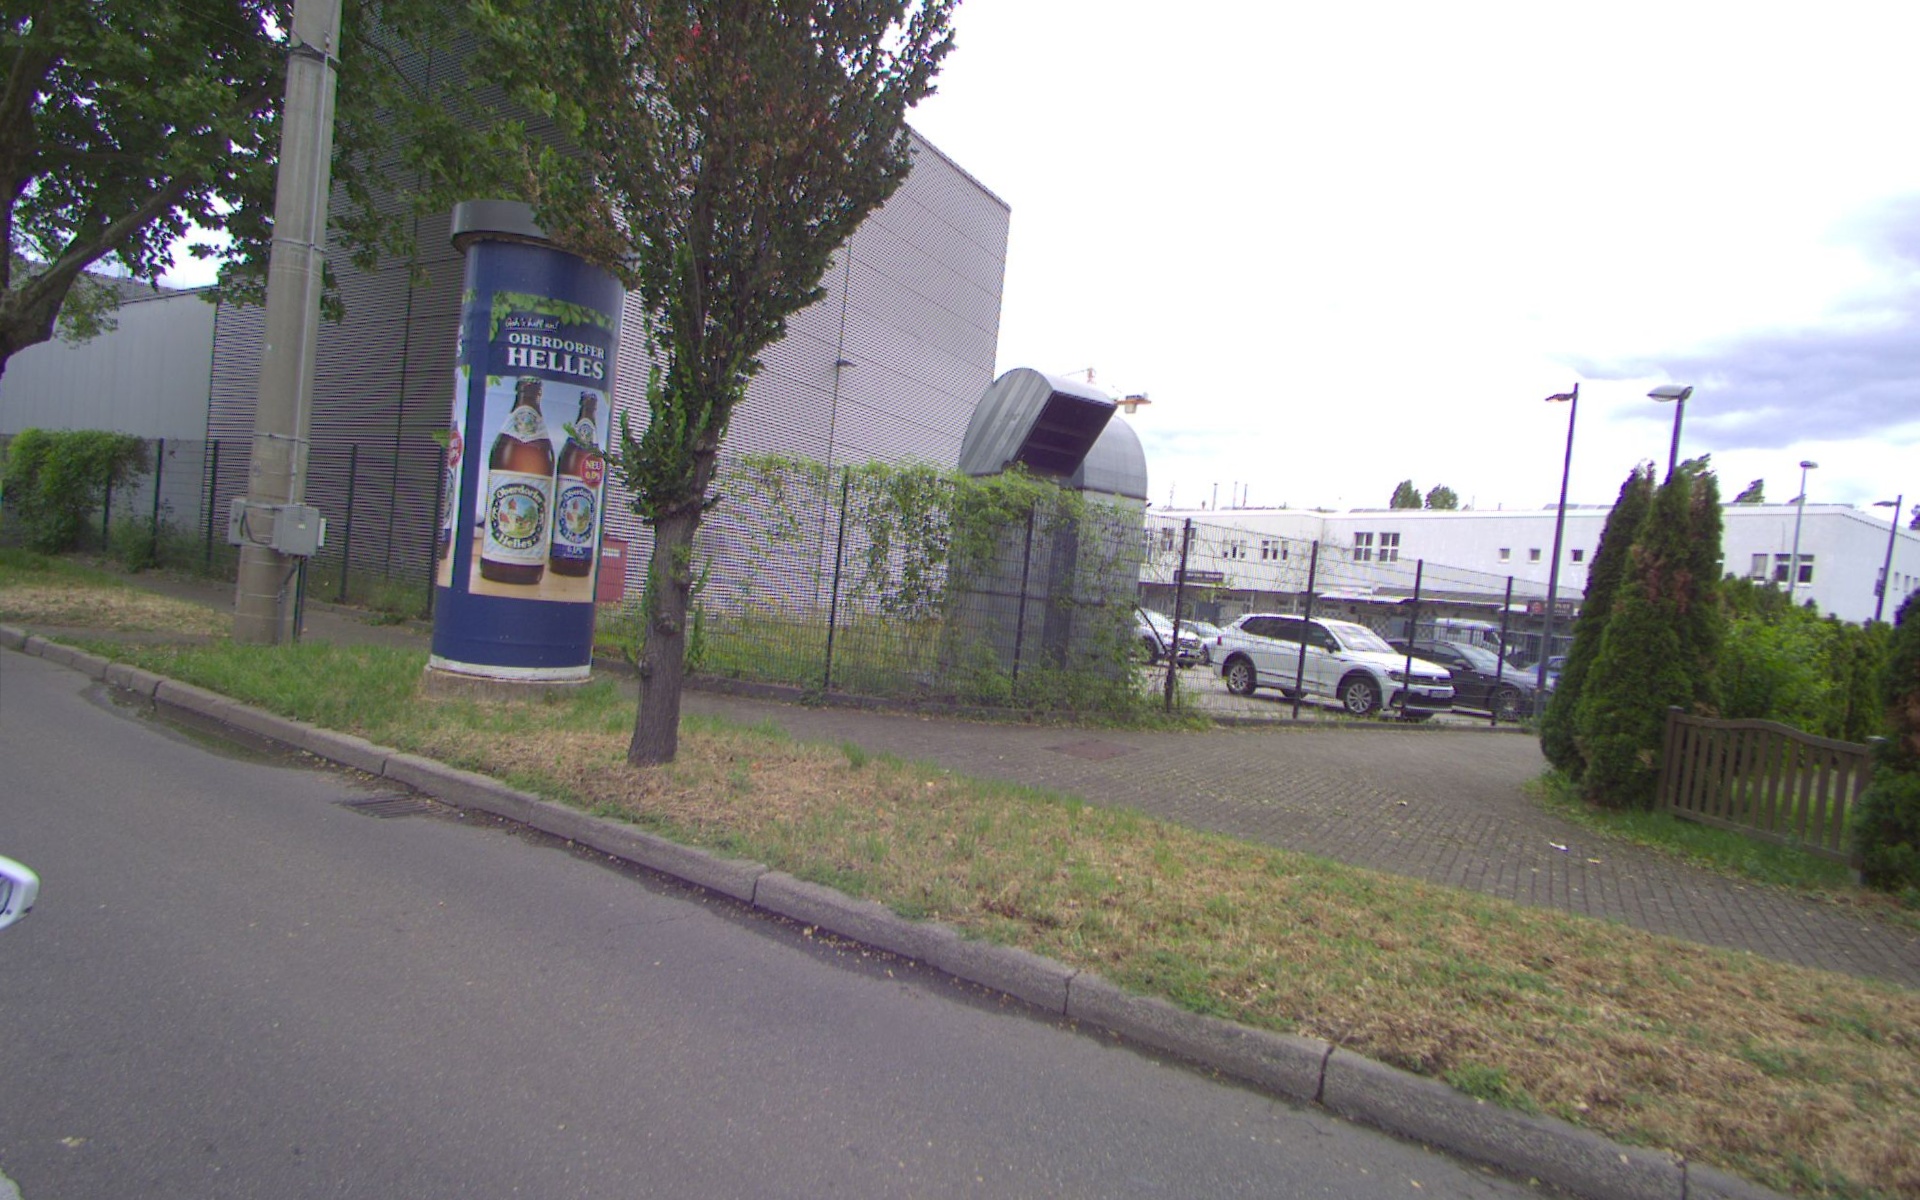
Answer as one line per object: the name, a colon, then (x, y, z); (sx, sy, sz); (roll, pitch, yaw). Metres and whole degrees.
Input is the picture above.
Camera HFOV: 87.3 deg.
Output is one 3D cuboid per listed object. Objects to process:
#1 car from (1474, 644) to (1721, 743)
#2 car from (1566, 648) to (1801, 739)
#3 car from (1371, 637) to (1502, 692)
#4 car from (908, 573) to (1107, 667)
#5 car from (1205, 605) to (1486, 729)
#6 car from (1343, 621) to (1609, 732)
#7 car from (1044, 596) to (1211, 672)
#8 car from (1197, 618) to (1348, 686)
car: (15.085, 2.167, 24.089); (1.979, 1.686, 4.464); (6, 1, -31)
car: (18.754, 2.377, 26.311); (1.979, 1.686, 4.464); (6, 1, -31)
car: (19.164, 2.571, 40.610); (1.982, 1.668, 4.233); (8, -2, -34)
car: (1.124, 0.467, 24.224); (4.197, 1.668, 1.999); (6, -2, 29)
car: (6.951, 1.162, 18.647); (1.979, 1.686, 4.464); (6, 1, -31)
car: (10.617, 1.526, 21.052); (1.979, 1.686, 4.464); (6, 1, -31)
car: (4.852, 0.959, 29.582); (4.418, 1.687, 1.999); (6, 1, -1)
car: (10.032, 1.647, 32.583); (1.982, 1.668, 4.233); (8, -2, -34)
